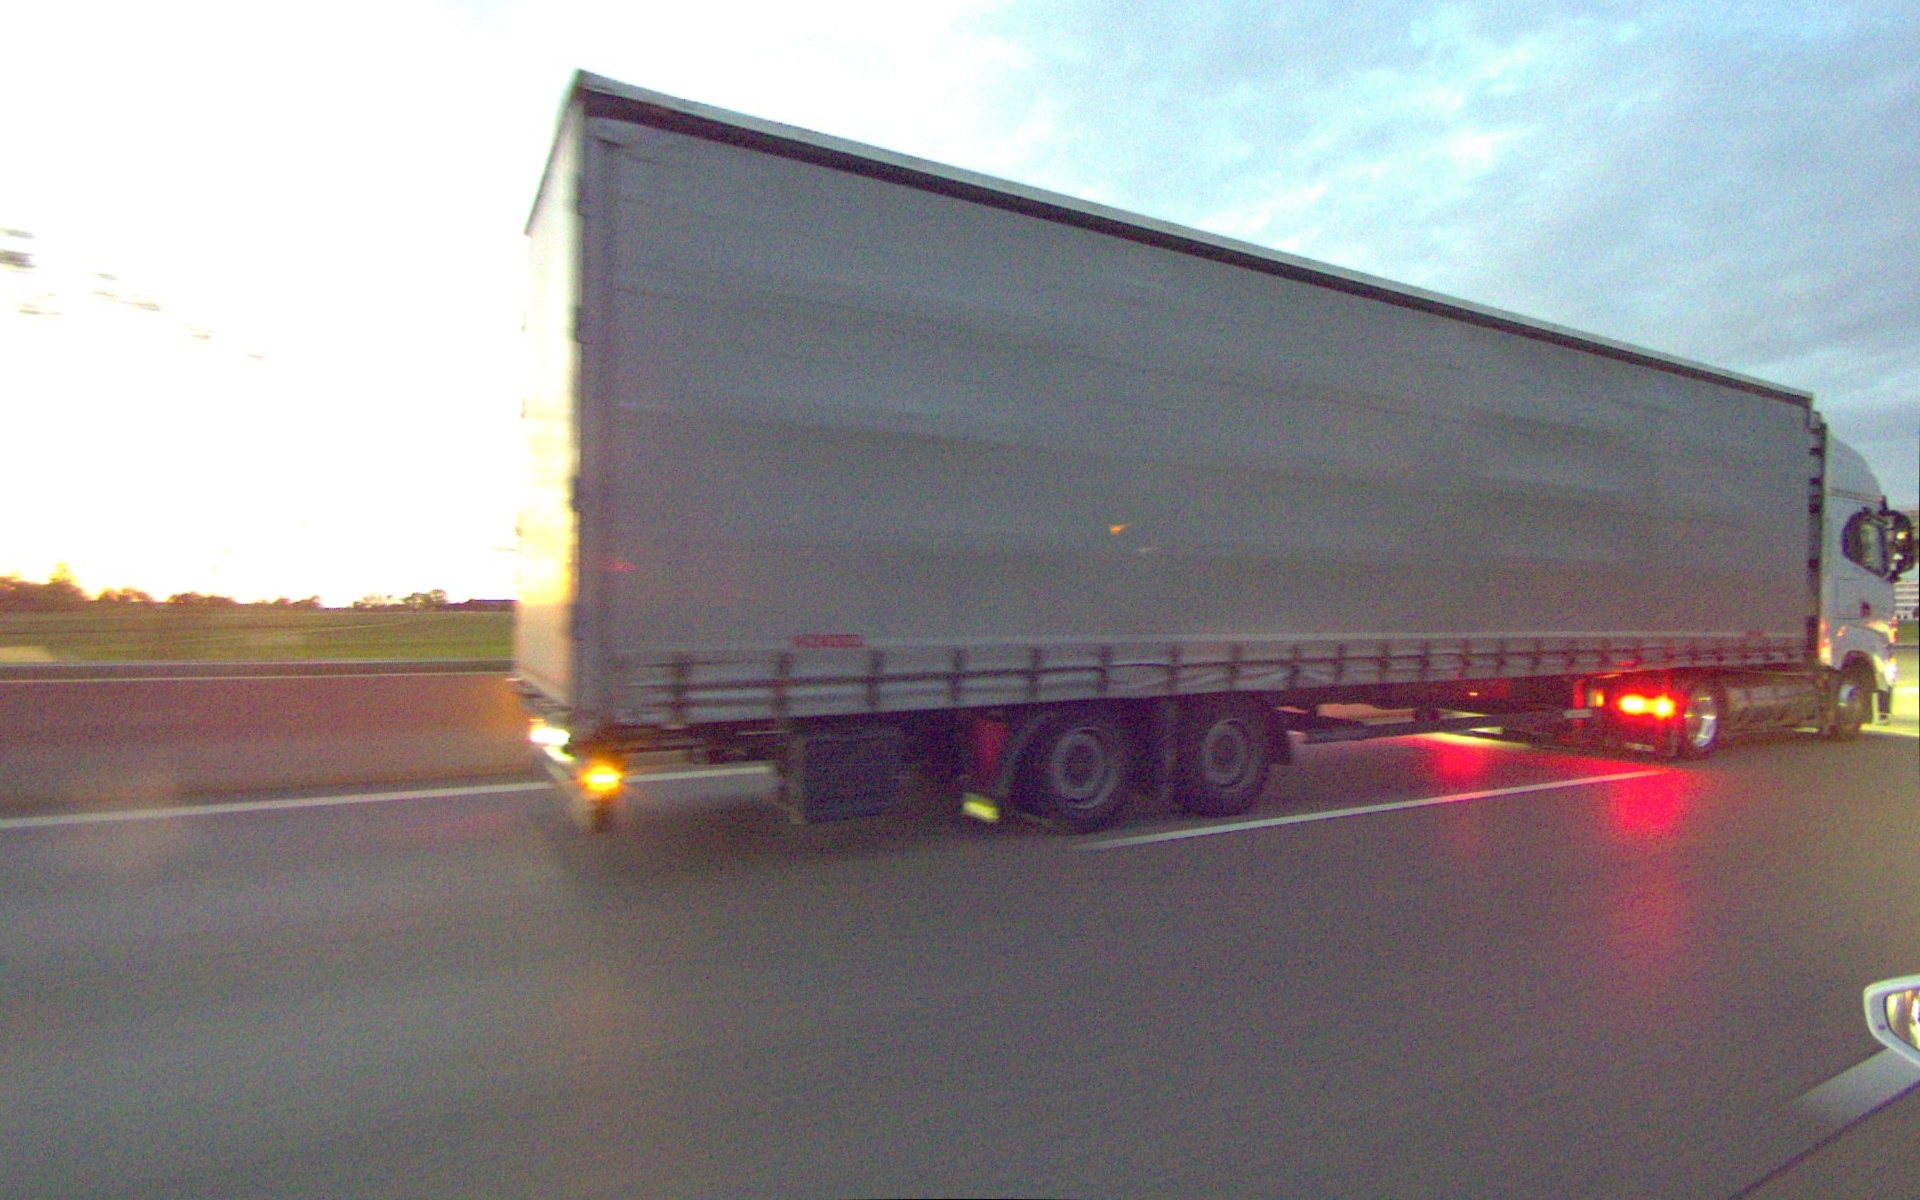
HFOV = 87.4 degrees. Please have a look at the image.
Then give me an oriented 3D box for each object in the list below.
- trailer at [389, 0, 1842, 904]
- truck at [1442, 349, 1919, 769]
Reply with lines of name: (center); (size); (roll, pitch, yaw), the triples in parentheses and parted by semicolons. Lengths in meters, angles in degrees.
trailer: (3.151, -0.507, 9.143); (14.351, 4.139, 2.781); (2, -1, -30)
truck: (9.223, -0.302, 12.609); (6.030, 4.146, 2.765); (2, -1, -29)
